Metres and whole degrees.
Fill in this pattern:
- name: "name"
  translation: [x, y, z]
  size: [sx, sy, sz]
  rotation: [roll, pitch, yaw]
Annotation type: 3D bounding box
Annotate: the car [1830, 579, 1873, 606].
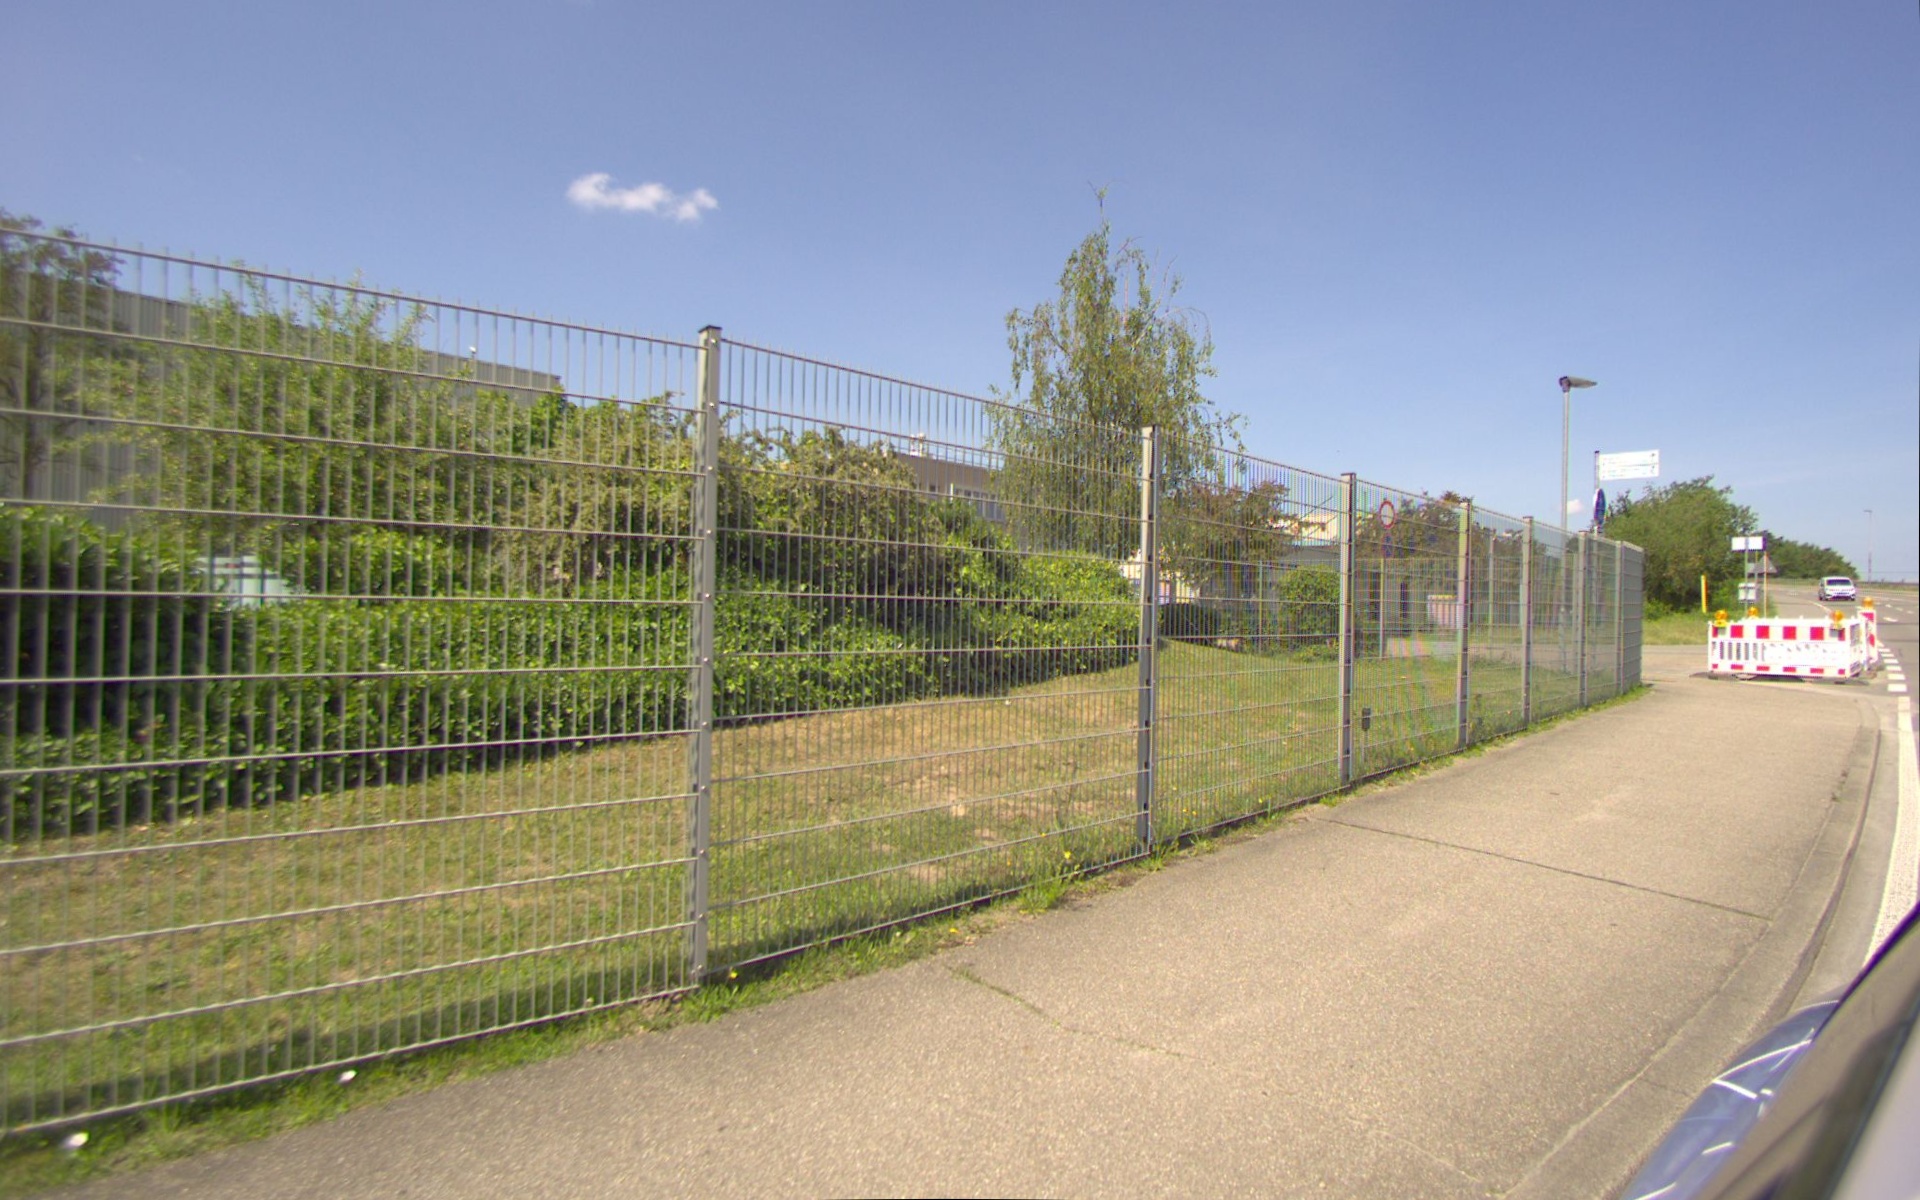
- name: "car"
  translation: [67.512, -0.566, 76.690]
  size: [1.987, 1.939, 3.949]
  rotation: [1, 0, 35]
